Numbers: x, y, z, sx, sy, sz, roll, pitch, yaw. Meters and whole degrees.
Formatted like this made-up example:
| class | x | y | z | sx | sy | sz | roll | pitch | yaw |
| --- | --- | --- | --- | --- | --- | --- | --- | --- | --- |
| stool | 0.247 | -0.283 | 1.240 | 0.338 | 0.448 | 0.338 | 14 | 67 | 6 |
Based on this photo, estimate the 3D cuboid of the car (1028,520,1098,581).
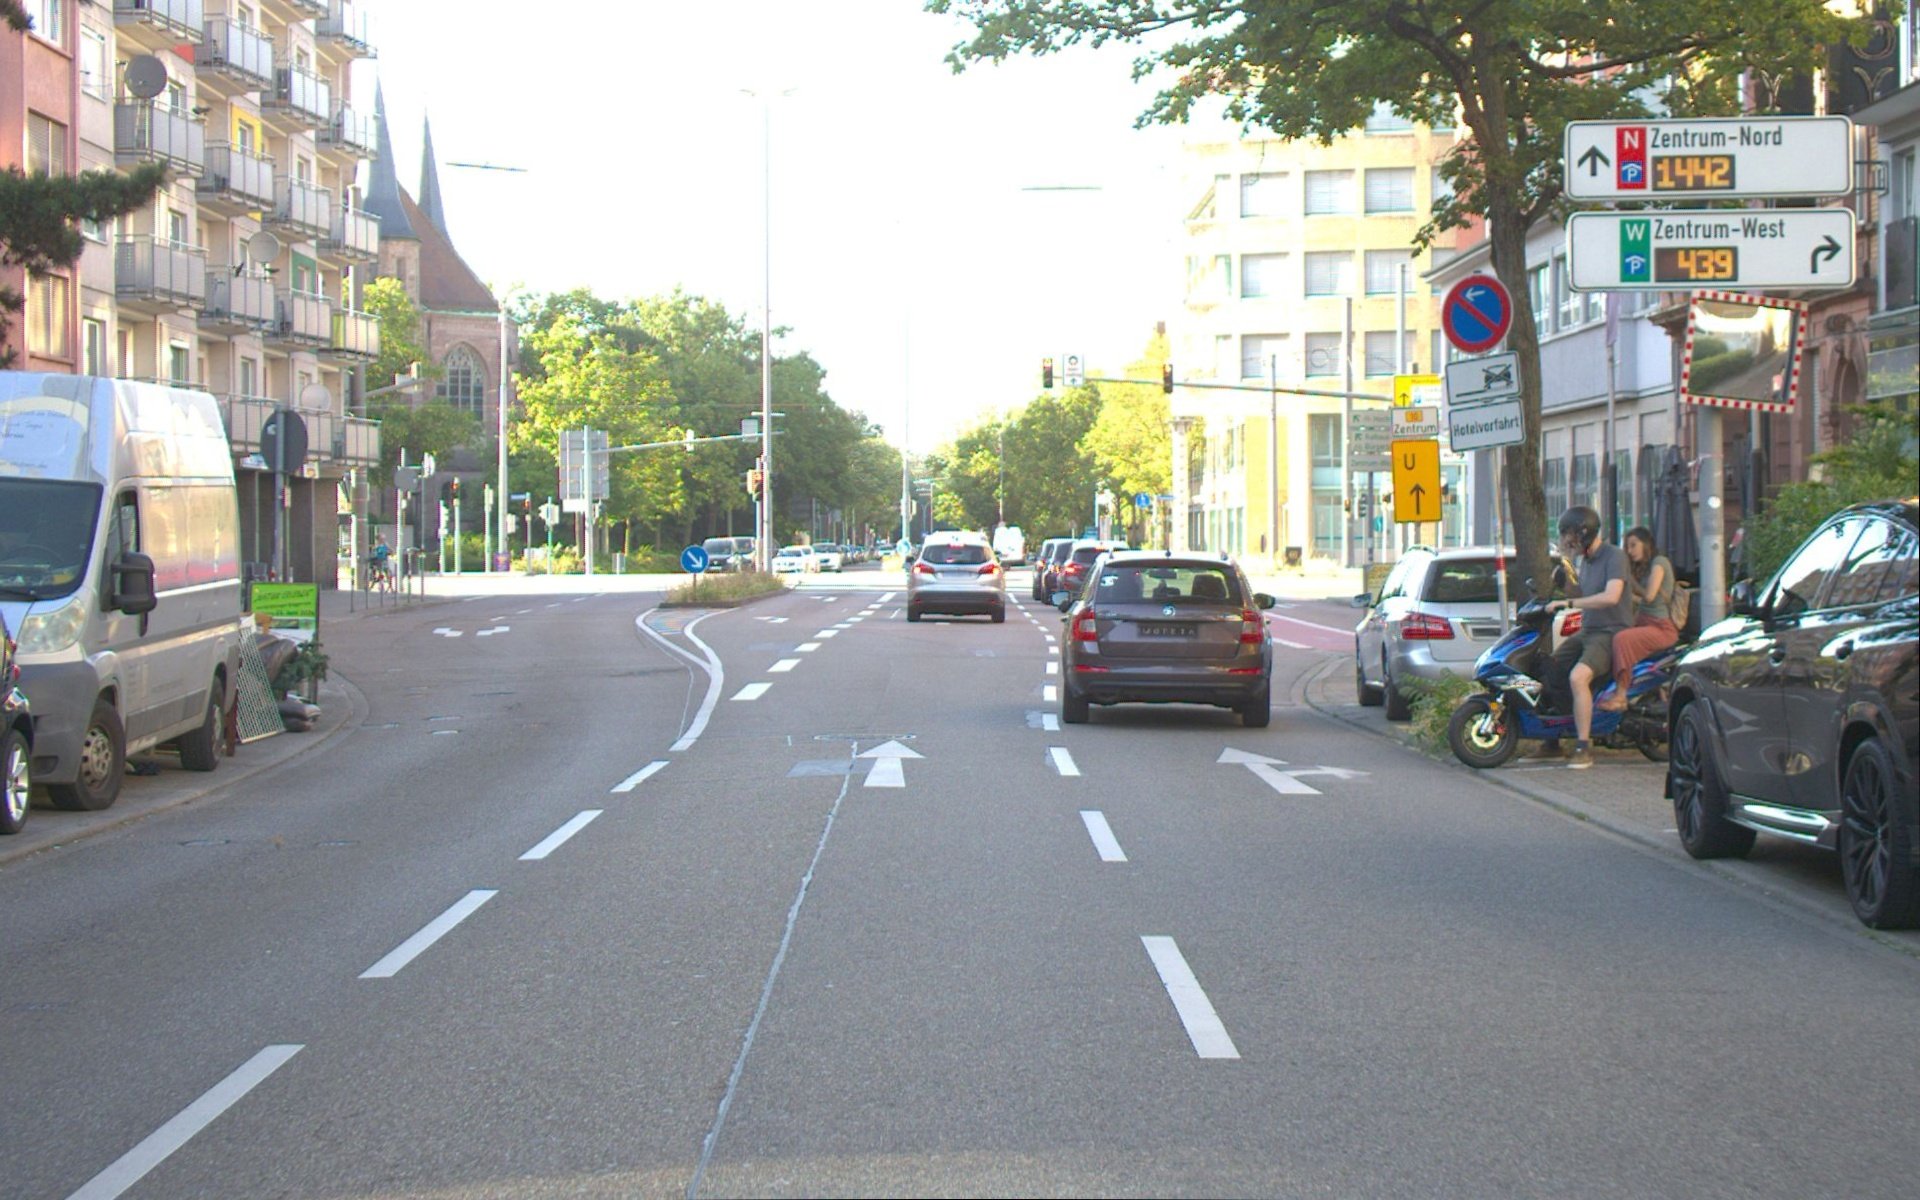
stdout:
| class | x | y | z | sx | sy | sz | roll | pitch | yaw |
| --- | --- | --- | --- | --- | --- | --- | --- | --- | --- |
| car | 2.533 | -1.233 | 85.226 | 1.584 | 1.442 | 3.648 | 1 | 1 | 0 |

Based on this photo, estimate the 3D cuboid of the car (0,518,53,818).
| class | x | y | z | sx | sy | sz | roll | pitch | yaw |
| --- | --- | --- | --- | --- | --- | --- | --- | --- | --- |
| car | -5.661 | 0.349 | 17.250 | 1.404 | 1.543 | 2.762 | 2 | 1 | 1 |

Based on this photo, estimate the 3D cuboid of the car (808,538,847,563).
| class | x | y | z | sx | sy | sz | roll | pitch | yaw |
| --- | --- | --- | --- | --- | --- | --- | --- | --- | --- |
| car | -6.783 | -2.558 | 175.990 | 1.780 | 1.232 | 4.000 | 0 | 1 | 1 |

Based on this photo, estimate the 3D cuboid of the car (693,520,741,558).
| class | x | y | z | sx | sy | sz | roll | pitch | yaw |
| --- | --- | --- | --- | --- | --- | --- | --- | --- | --- |
| car | -10.761 | -2.710 | 152.304 | 1.780 | 1.641 | 4.000 | 0 | 1 | 1 |

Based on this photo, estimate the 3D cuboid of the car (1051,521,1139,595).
| class | x | y | z | sx | sy | sz | roll | pitch | yaw |
| --- | --- | --- | --- | --- | --- | --- | --- | --- | --- |
| car | 2.815 | -0.900 | 72.371 | 1.650 | 1.479 | 4.240 | 1 | 1 | 0 |

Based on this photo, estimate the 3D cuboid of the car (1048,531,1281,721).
| class | x | y | z | sx | sy | sz | roll | pitch | yaw |
| --- | --- | --- | --- | --- | --- | --- | --- | --- | --- |
| car | 1.675 | 0.167 | 29.304 | 1.707 | 1.452 | 4.159 | 1 | 1 | 0 |

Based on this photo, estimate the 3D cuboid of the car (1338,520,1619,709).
| class | x | y | z | sx | sy | sz | roll | pitch | yaw |
| --- | --- | --- | --- | --- | --- | --- | --- | --- | --- |
| car | 4.538 | 0.060 | 30.770 | 1.856 | 1.507 | 4.834 | -2 | 1 | 1 |

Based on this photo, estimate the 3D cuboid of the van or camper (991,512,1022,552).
| class | x | y | z | sx | sy | sz | roll | pitch | yaw |
| --- | --- | --- | --- | --- | --- | --- | --- | --- | --- |
| van or camper | 3.115 | -4.594 | 231.091 | 1.993 | 2.631 | 5.350 | 0 | 1 | 2 |

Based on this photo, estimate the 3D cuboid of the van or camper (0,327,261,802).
| class | x | y | z | sx | sy | sz | roll | pitch | yaw |
| --- | --- | --- | --- | --- | --- | --- | --- | --- | --- |
| van or camper | -6.058 | -0.288 | 22.294 | 2.035 | 2.654 | 6.017 | 2 | 1 | -3 |

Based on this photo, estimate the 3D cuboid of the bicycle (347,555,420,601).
| class | x | y | z | sx | sy | sz | roll | pitch | yaw |
| --- | --- | --- | --- | --- | --- | --- | --- | --- | --- |
| bicycle | -15.613 | -0.598 | 93.132 | 1.827 | 1.184 | 0.734 | 1 | 1 | -1 |

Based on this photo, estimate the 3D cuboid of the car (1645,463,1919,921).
| class | x | y | z | sx | sy | sz | roll | pitch | yaw |
| --- | --- | --- | --- | --- | --- | --- | --- | --- | --- |
| car | 4.382 | 0.278 | 14.473 | 1.947 | 1.649 | 4.797 | 0 | 1 | -1 |

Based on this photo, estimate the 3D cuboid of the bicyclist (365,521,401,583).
| class | x | y | z | sx | sy | sz | roll | pitch | yaw |
| --- | --- | --- | --- | --- | --- | --- | --- | --- | --- |
| bicyclist | -15.752 | -1.308 | 93.876 | 0.782 | 1.654 | 0.901 | 1 | 1 | 0 |

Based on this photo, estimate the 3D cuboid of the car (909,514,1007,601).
| class | x | y | z | sx | sy | sz | roll | pitch | yaw |
| --- | --- | --- | --- | --- | --- | --- | --- | --- | --- |
| car | -0.044 | -0.807 | 62.913 | 1.707 | 1.504 | 4.309 | 1 | 1 | 0 |

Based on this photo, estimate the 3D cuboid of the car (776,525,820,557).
| class | x | y | z | sx | sy | sz | roll | pitch | yaw |
| --- | --- | --- | --- | --- | --- | --- | --- | --- | --- |
| car | -7.449 | -2.730 | 158.305 | 1.780 | 1.459 | 4.000 | 0 | 1 | 1 |

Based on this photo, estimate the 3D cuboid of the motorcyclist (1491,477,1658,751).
| class | x | y | z | sx | sy | sz | roll | pitch | yaw |
| --- | --- | --- | --- | --- | --- | --- | --- | --- | --- |
| motorcyclist | 4.078 | 0.078 | 22.873 | 0.736 | 1.772 | 1.089 | 0 | 1 | -12 |

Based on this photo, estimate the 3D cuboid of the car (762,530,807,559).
| class | x | y | z | sx | sy | sz | roll | pitch | yaw |
| --- | --- | --- | --- | --- | --- | --- | --- | --- | --- |
| car | -7.729 | -2.455 | 151.737 | 1.780 | 1.232 | 4.000 | 0 | 1 | 1 |

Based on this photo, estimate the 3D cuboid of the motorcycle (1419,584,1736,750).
| class | x | y | z | sx | sy | sz | roll | pitch | yaw |
| --- | --- | --- | --- | --- | --- | --- | --- | --- | --- |
| motorcycle | 4.146 | 0.434 | 23.127 | 1.925 | 1.067 | 0.820 | 0 | 1 | -12 |

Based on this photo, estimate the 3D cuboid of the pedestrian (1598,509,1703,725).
| class | x | y | z | sx | sy | sz | roll | pitch | yaw |
| --- | --- | --- | --- | --- | --- | --- | --- | --- | --- |
| pedestrian | 4.612 | 0.103 | 22.979 | 0.438 | 1.425 | 0.704 | 0 | 1 | -12 |
